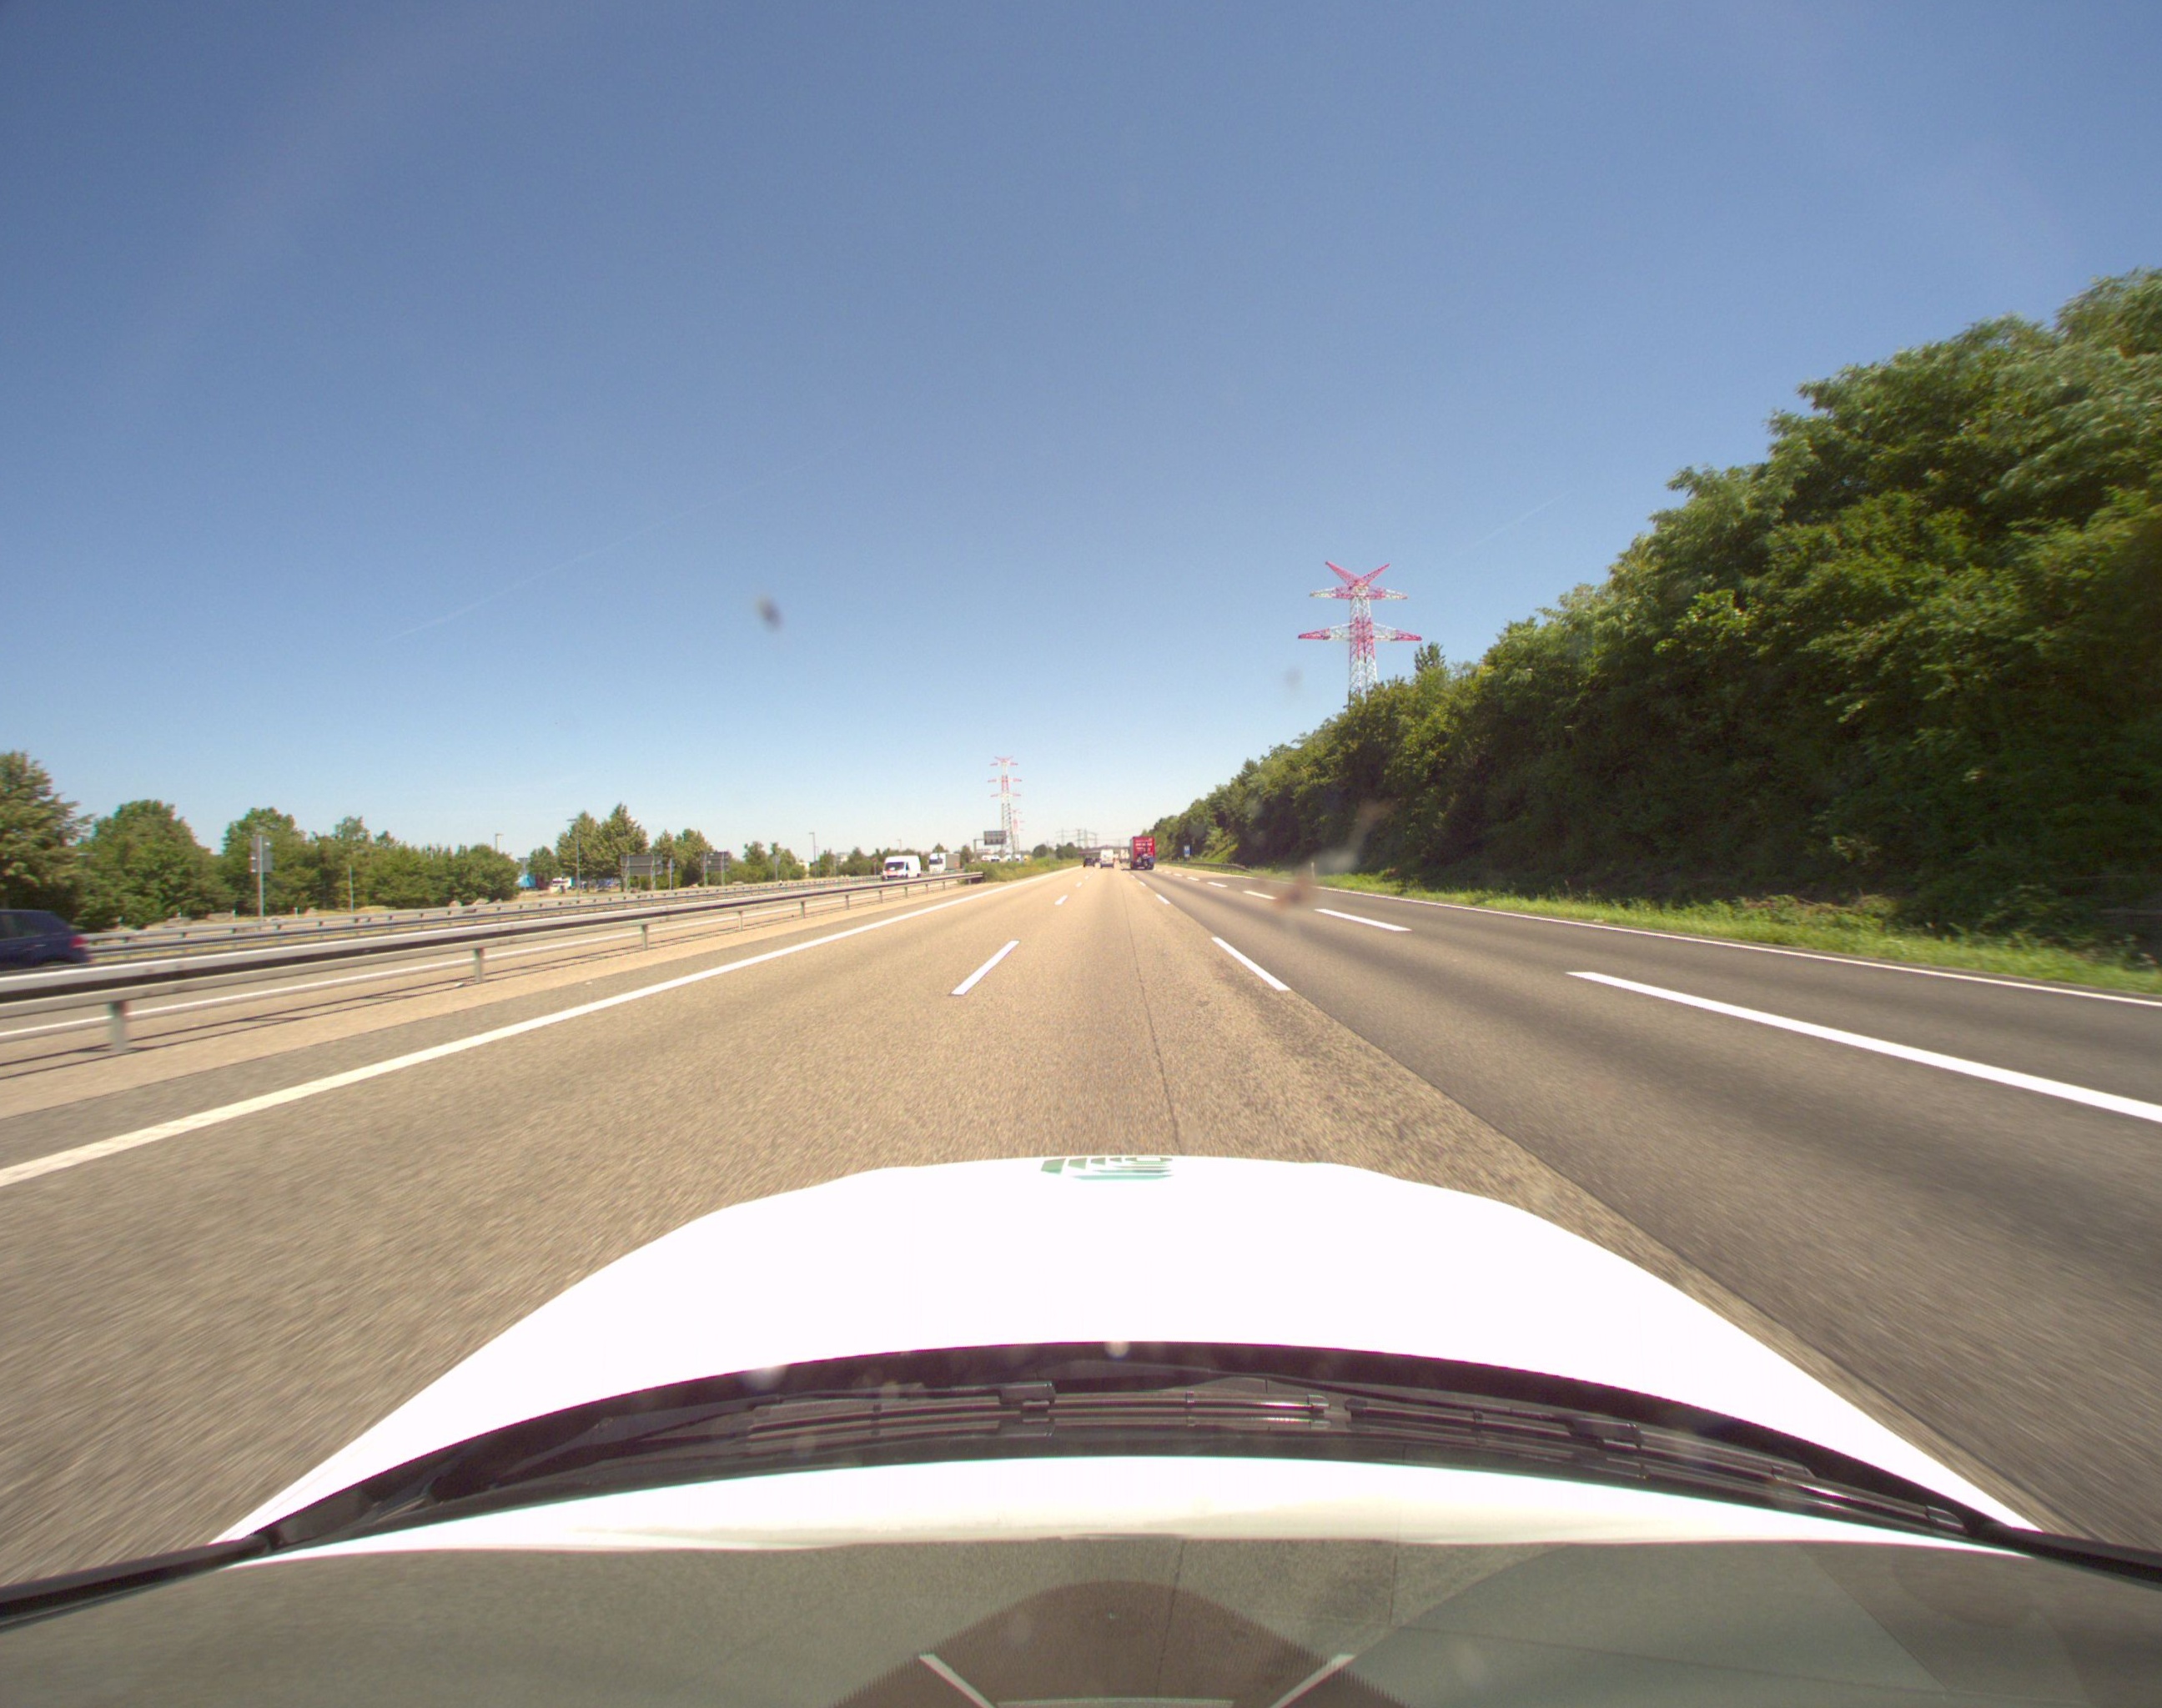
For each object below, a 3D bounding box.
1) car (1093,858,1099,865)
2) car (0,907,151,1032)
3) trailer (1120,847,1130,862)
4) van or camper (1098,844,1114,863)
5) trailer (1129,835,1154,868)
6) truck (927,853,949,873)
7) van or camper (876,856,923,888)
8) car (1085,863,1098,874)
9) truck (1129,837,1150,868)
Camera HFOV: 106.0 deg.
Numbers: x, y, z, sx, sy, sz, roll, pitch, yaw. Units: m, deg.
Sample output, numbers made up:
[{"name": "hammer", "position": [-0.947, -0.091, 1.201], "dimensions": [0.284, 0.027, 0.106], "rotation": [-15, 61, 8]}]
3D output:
[{"name": "car", "position": [4.615, 2.315, 251.913], "dimensions": [1.964, 2.012, 4.199], "rotation": [0, -1, 2]}, {"name": "car", "position": [-16.550, 1.730, 11.422], "dimensions": [1.739, 1.714, 4.486], "rotation": [0, -1, 2]}, {"name": "trailer", "position": [12.475, 0.128, 229.005], "dimensions": [2.626, 4.060, 12.376], "rotation": [0, -1, 3]}, {"name": "van or camper", "position": [3.771, -0.078, 122.658], "dimensions": [2.221, 2.782, 5.426], "rotation": [0, -1, 2]}, {"name": "trailer", "position": [7.550, -0.238, 102.849], "dimensions": [2.481, 3.909, 14.252], "rotation": [-1, -1, 2]}, {"name": "truck", "position": [-26.617, 1.715, 151.407], "dimensions": [2.788, 3.643, 6.149], "rotation": [0, -1, 2]}, {"name": "van or camper", "position": [-15.570, 1.492, 70.238], "dimensions": [2.409, 2.582, 6.369], "rotation": [-1, -1, 2]}, {"name": "car", "position": [1.876, 2.469, 142.270], "dimensions": [1.973, 1.817, 3.817], "rotation": [0, -1, 4]}, {"name": "truck", "position": [7.795, -0.170, 109.842], "dimensions": [2.489, 3.920, 7.100], "rotation": [-1, -1, 2]}]
